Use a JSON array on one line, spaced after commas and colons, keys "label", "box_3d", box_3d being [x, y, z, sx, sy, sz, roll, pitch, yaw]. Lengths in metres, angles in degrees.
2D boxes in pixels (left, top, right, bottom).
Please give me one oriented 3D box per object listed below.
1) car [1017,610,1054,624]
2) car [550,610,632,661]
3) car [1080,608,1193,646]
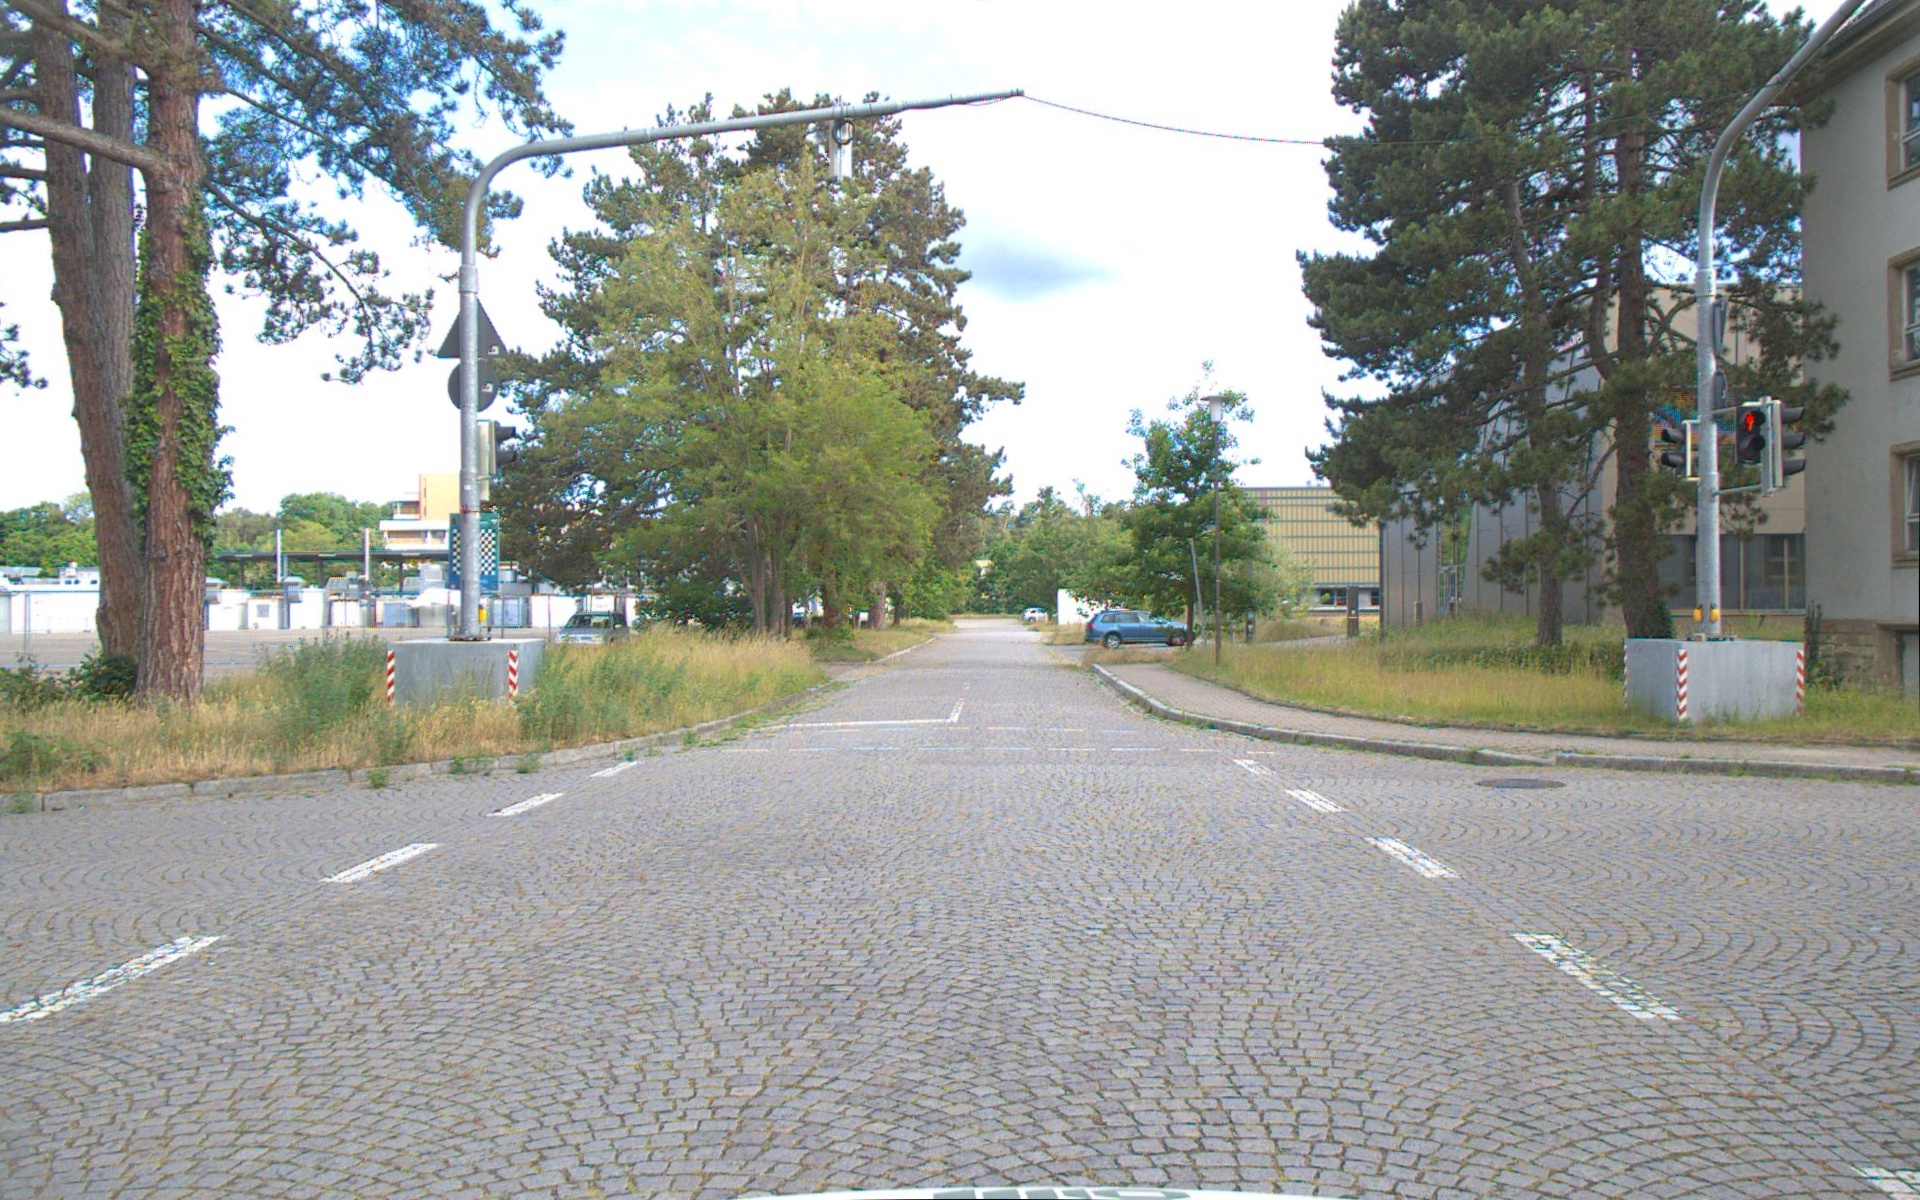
[{"label": "car", "box_3d": [8.337, 1.869, 183.070, 3.909, 1.422, 1.998, -1, 0, -5]}, {"label": "car", "box_3d": [-11.423, 1.082, 51.466, 1.579, 1.513, 4.000, 0, 0, 1]}, {"label": "car", "box_3d": [7.014, 1.069, 66.015, 4.256, 1.447, 2.000, -1, 0, -1]}]
